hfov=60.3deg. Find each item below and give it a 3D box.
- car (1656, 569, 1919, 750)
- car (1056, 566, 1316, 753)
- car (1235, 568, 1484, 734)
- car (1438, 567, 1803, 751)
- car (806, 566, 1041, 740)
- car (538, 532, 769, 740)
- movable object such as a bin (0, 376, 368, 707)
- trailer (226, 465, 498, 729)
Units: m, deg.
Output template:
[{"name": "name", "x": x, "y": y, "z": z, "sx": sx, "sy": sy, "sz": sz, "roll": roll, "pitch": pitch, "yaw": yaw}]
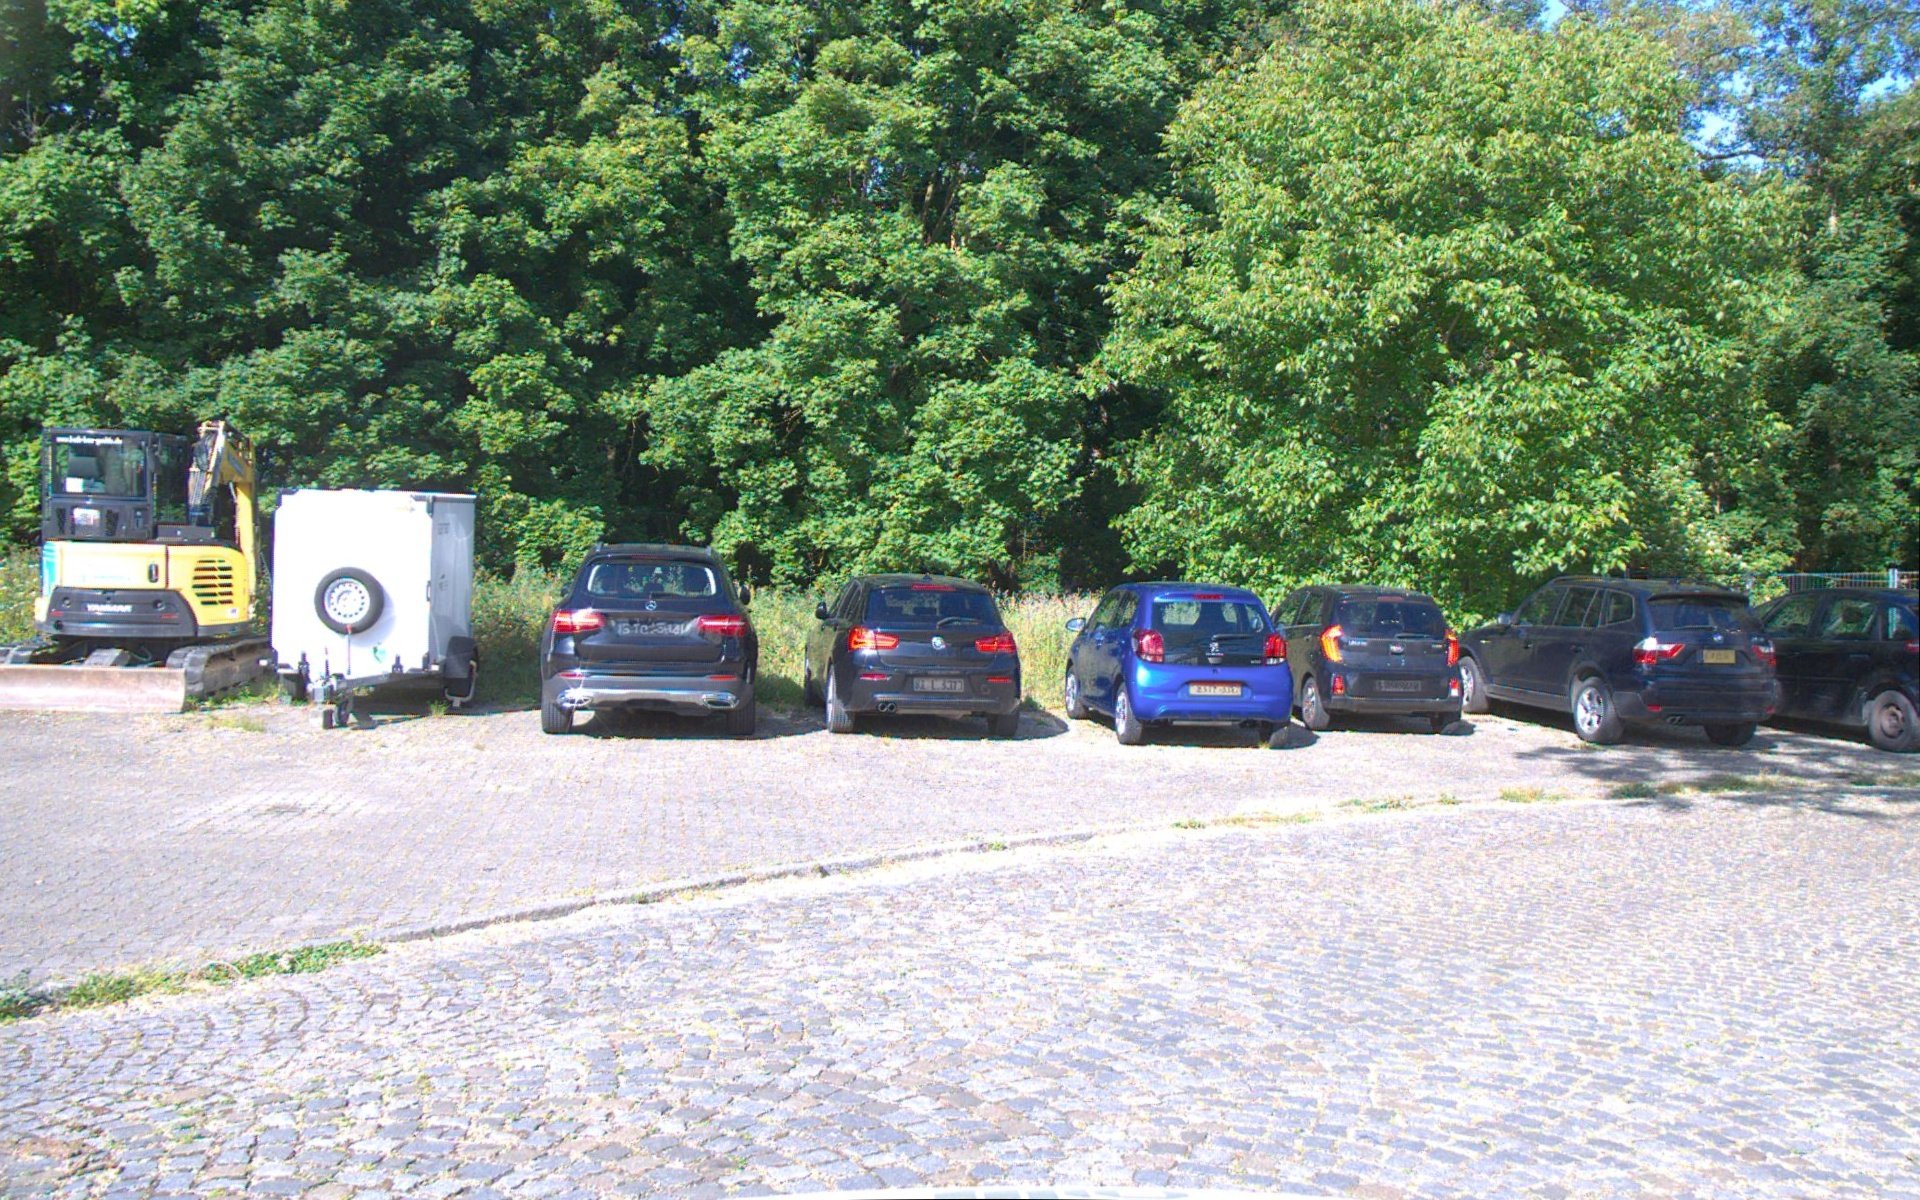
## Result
[{"name": "car", "x": 10.087, "y": 0.599, "z": 18.645, "sx": 1.759, "sy": 1.680, "sz": 4.281, "roll": 1, "pitch": 3, "yaw": -17}, {"name": "car", "x": 2.127, "y": 0.500, "z": 16.553, "sx": 1.676, "sy": 1.519, "sz": 3.659, "roll": 1, "pitch": 3, "yaw": -7}, {"name": "car", "x": 4.275, "y": 0.483, "z": 18.239, "sx": 1.640, "sy": 1.542, "sz": 3.549, "roll": 1, "pitch": 2, "yaw": -4}, {"name": "car", "x": 7.094, "y": 0.550, "z": 18.282, "sx": 1.779, "sy": 1.684, "sz": 4.182, "roll": 1, "pitch": 2, "yaw": -10}, {"name": "car", "x": -0.476, "y": 0.431, "z": 16.086, "sx": 1.794, "sy": 1.476, "sz": 3.656, "roll": 1, "pitch": 1, "yaw": -9}, {"name": "car", "x": -2.720, "y": 0.257, "z": 15.380, "sx": 1.826, "sy": 1.669, "sz": 3.815, "roll": 1, "pitch": 1, "yaw": -7}, {"name": "movable object such as a bin", "x": -8.148, "y": -0.568, "z": 17.877, "sx": 1.954, "sy": 3.017, "sz": 5.160, "roll": 1, "pitch": 1, "yaw": -5}, {"name": "trailer", "x": -5.448, "y": -0.092, "z": 15.524, "sx": 1.603, "sy": 2.130, "sz": 3.966, "roll": 1, "pitch": 2, "yaw": -8}]
